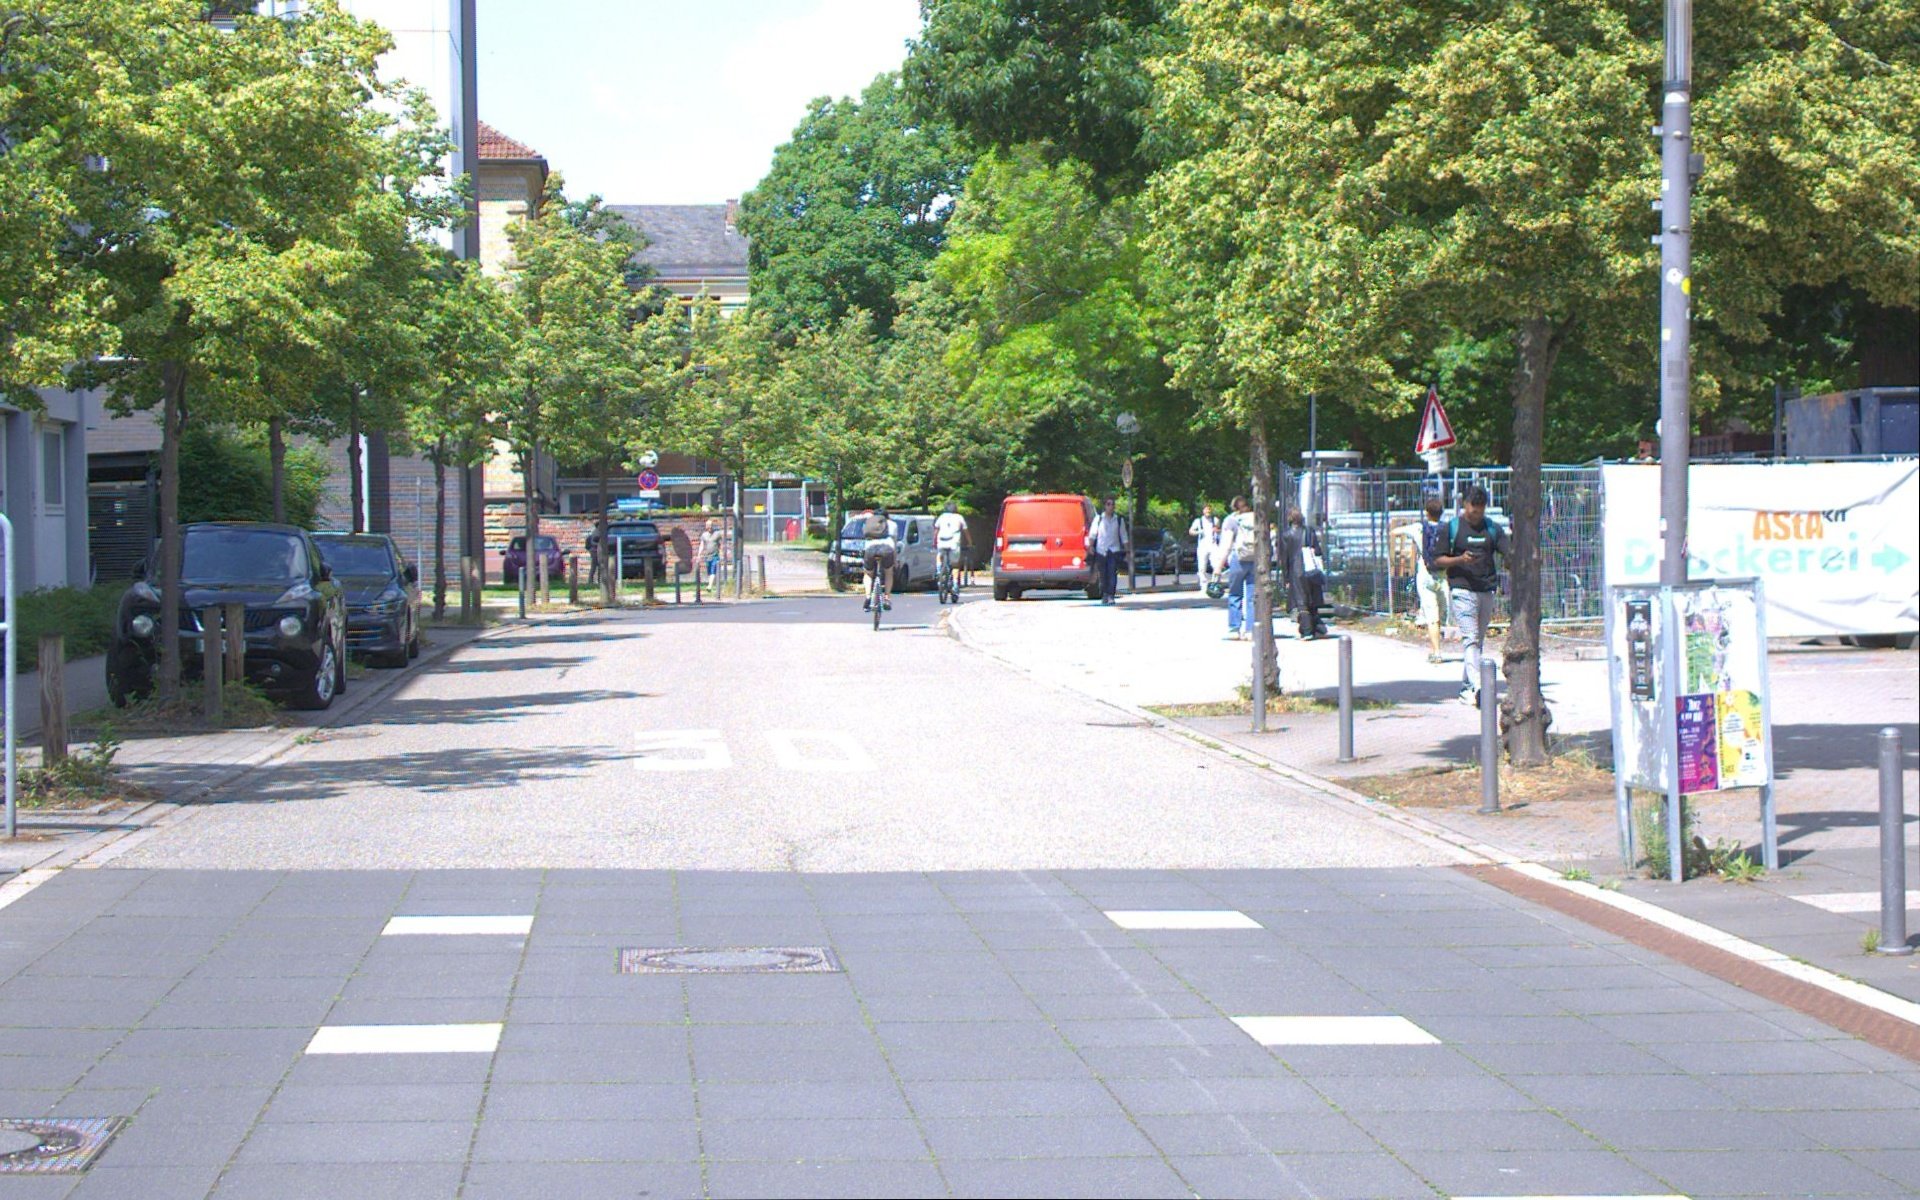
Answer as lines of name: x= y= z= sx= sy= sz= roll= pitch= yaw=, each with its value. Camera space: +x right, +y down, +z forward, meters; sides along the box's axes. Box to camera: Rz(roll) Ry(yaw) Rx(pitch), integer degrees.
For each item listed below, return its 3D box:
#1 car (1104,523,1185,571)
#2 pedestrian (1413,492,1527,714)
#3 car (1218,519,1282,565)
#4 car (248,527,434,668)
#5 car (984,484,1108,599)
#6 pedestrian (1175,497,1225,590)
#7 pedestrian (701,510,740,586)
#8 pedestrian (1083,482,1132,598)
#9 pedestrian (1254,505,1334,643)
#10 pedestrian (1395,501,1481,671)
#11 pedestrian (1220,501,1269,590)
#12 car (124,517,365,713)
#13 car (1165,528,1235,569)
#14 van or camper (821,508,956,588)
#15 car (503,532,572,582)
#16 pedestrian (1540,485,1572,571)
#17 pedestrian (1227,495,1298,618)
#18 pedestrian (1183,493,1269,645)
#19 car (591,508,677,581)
car: x=6.017 y=-1.742 z=111.980 sx=1.761 sy=1.516 sz=4.108 roll=0 pitch=1 yaw=16
pedestrian: x=3.957 y=0.011 z=26.713 sx=0.641 sy=1.691 sz=0.792 roll=-1 pitch=1 yaw=-10
car: x=10.767 y=-2.156 z=127.581 sx=1.617 sy=1.673 sz=3.997 roll=0 pitch=1 yaw=16
car: x=-6.809 y=-0.068 z=38.157 sx=1.777 sy=1.456 sz=4.260 roll=0 pitch=1 yaw=-7
car: x=1.536 y=-1.027 z=59.771 sx=1.848 sy=1.885 sz=4.890 roll=-1 pitch=1 yaw=5
pedestrian: x=4.708 y=-1.109 z=67.336 sx=0.721 sy=1.815 sz=0.630 roll=-2 pitch=1 yaw=-41
pedestrian: x=-5.604 y=-1.218 z=80.364 sx=0.584 sy=1.758 sz=0.910 roll=-1 pitch=1 yaw=18
pedestrian: x=2.294 y=-0.939 z=53.398 sx=0.694 sy=1.775 sz=0.787 roll=-1 pitch=1 yaw=4
pedestrian: x=3.939 y=-0.318 z=40.551 sx=0.668 sy=1.594 sz=0.985 roll=-1 pitch=1 yaw=-10
pedestrian: x=4.773 y=-0.148 z=34.357 sx=0.649 sy=1.660 sz=0.904 roll=-1 pitch=1 yaw=-3
pedestrian: x=5.500 y=-1.060 z=66.503 sx=0.743 sy=1.704 sz=0.564 roll=-2 pitch=1 yaw=-41
car: x=-6.160 y=0.074 z=29.948 sx=1.696 sy=1.558 sz=4.069 roll=-1 pitch=1 yaw=-7
car: x=8.349 y=-1.793 z=119.249 sx=1.617 sy=1.383 sz=3.997 roll=0 pitch=1 yaw=16
van or camper: x=-1.754 y=-1.326 z=86.289 sx=1.955 sy=1.916 sz=5.416 roll=1 pitch=1 yaw=15
car: x=-11.517 y=-1.193 z=93.890 sx=1.817 sy=1.319 sz=3.769 roll=-1 pitch=1 yaw=-6
pedestrian: x=12.720 y=-1.534 z=73.381 sx=0.543 sy=1.831 sz=0.762 roll=-1 pitch=1 yaw=2
pedestrian: x=4.036 y=-0.578 z=45.851 sx=0.714 sy=1.626 sz=0.710 roll=0 pitch=1 yaw=27
pedestrian: x=3.131 y=-0.373 z=40.537 sx=0.849 sy=1.758 sz=0.716 roll=-1 pitch=1 yaw=-8
car: x=-8.951 y=-1.514 z=94.135 sx=2.174 sy=1.919 sz=5.187 roll=-1 pitch=1 yaw=-7
